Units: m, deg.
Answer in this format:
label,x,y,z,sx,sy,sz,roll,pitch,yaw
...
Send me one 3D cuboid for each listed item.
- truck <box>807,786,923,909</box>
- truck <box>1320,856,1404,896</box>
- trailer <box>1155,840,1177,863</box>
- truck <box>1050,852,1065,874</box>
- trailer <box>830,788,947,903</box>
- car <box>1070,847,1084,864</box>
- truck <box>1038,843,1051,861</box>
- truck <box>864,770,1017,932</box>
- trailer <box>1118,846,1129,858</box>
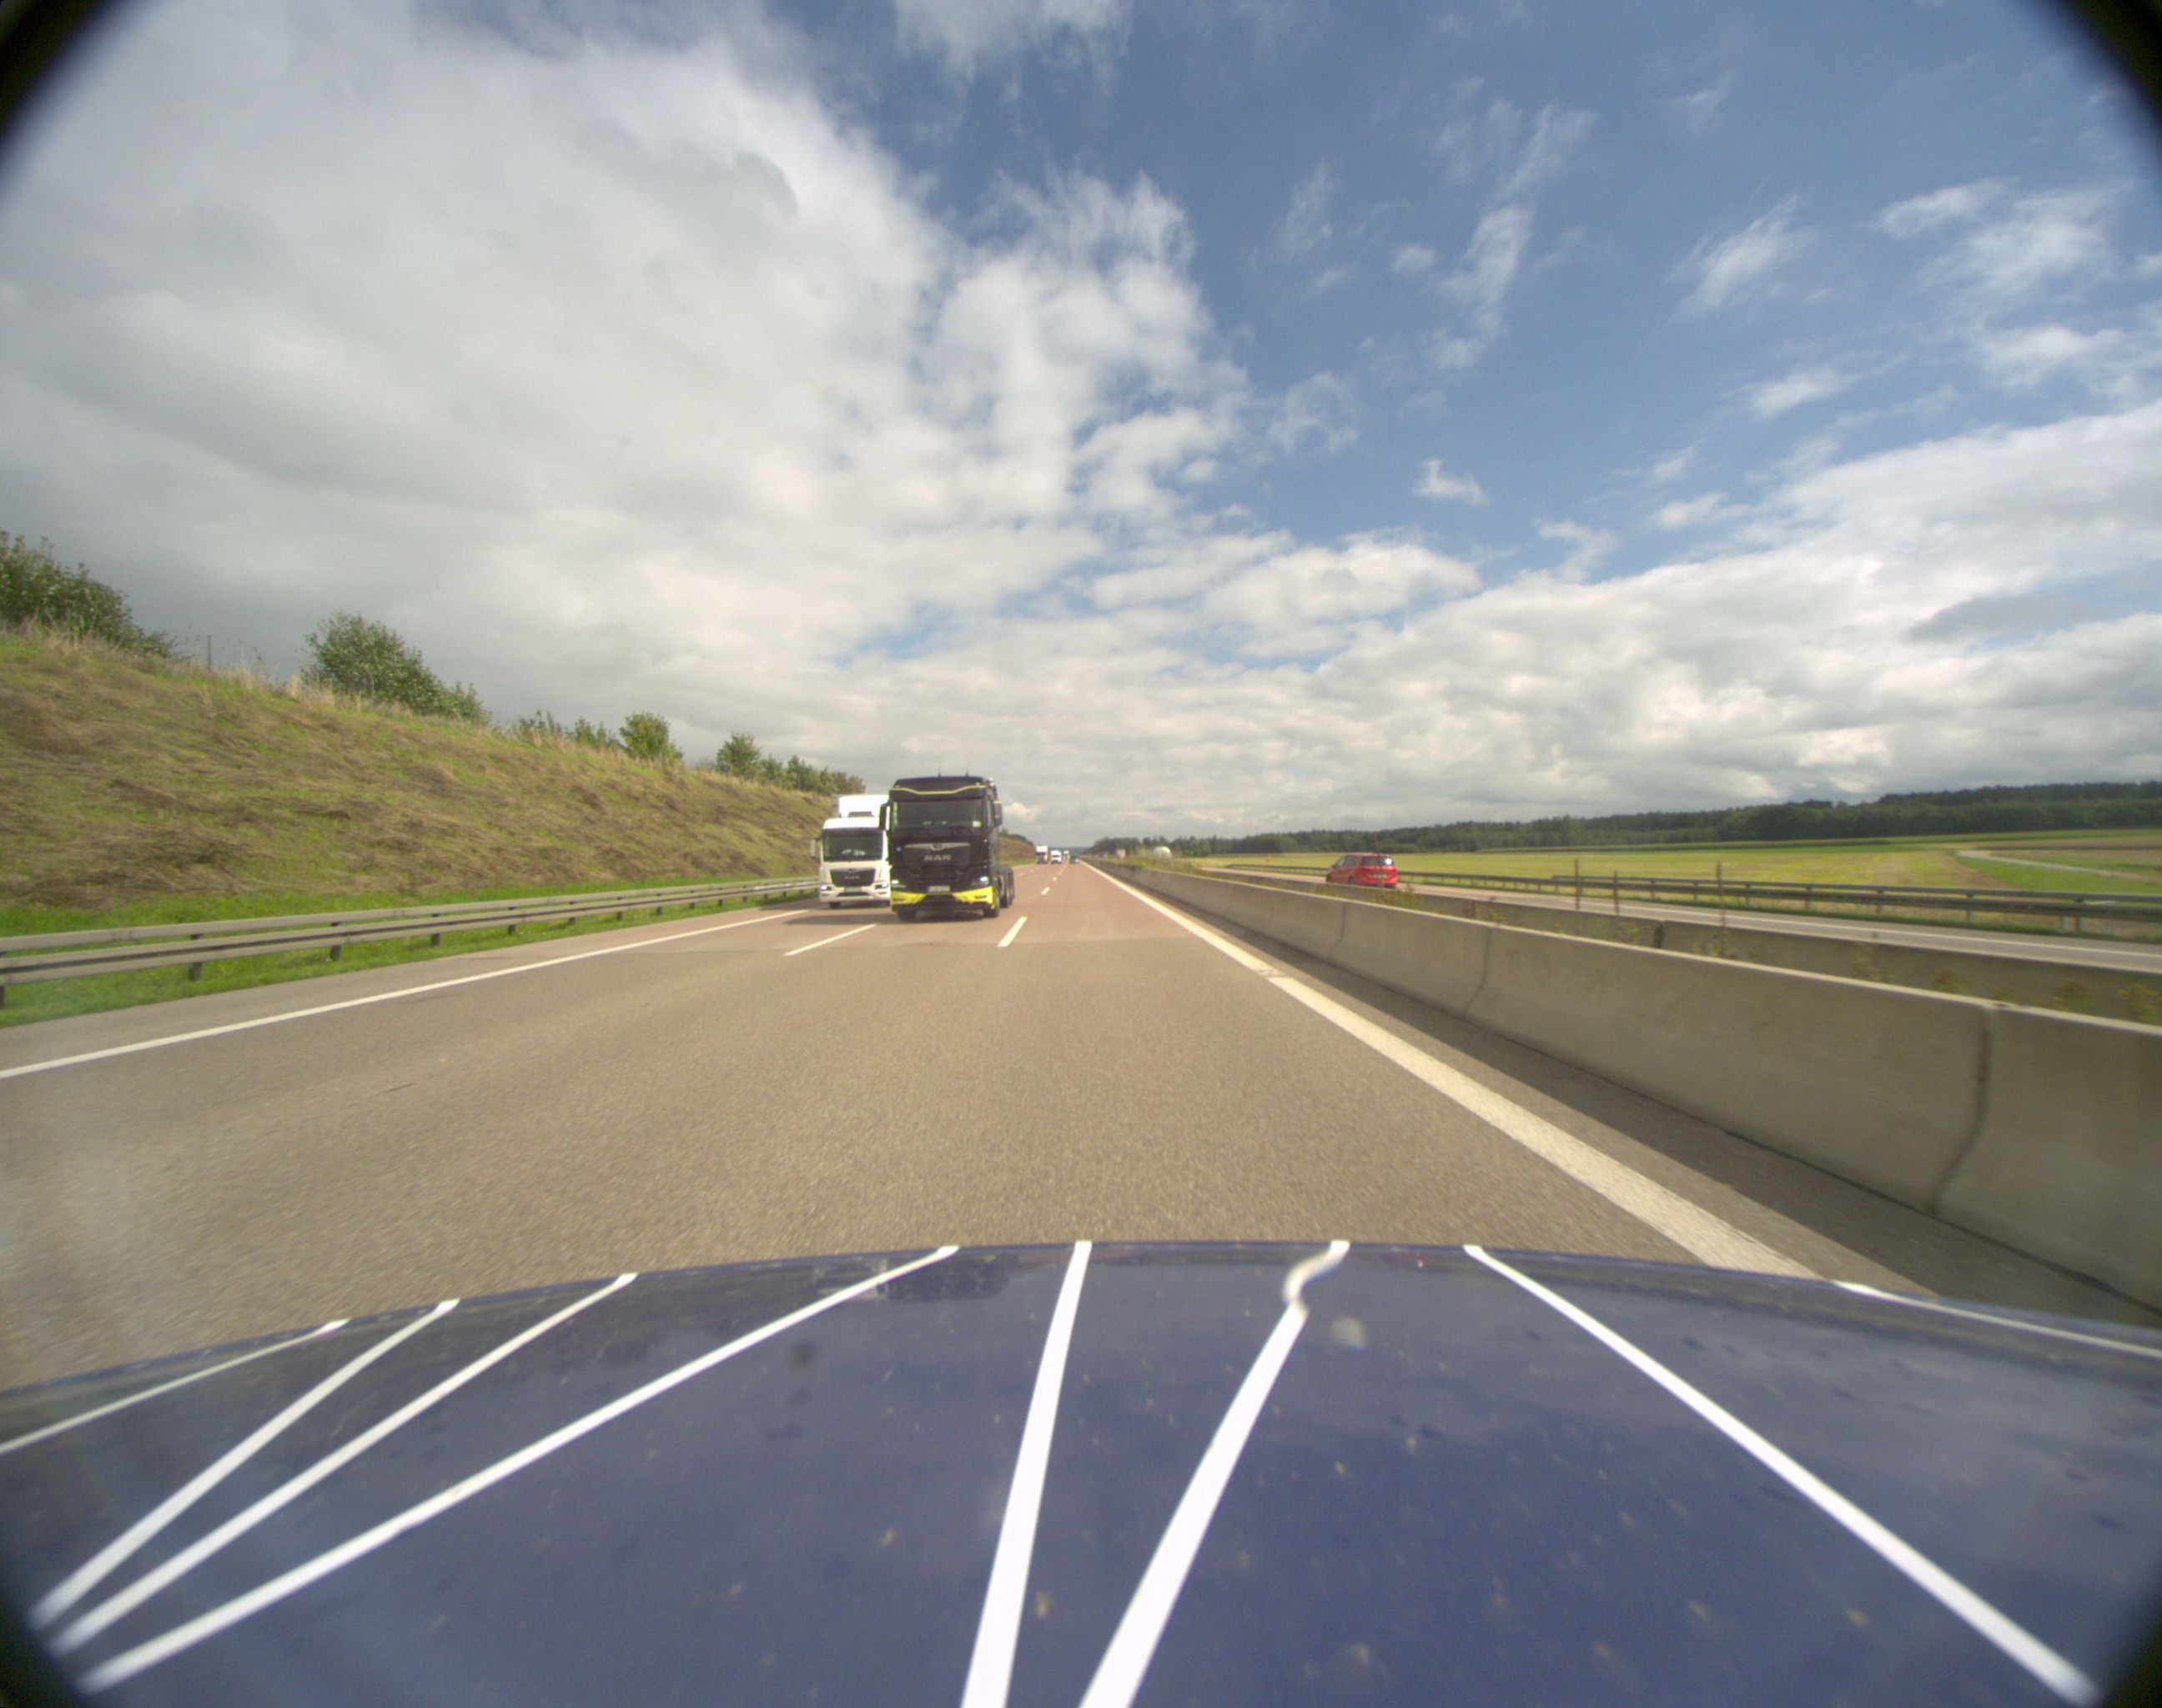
label,x,y,z,sx,sy,sz,roll,pitch,yaw
truck,-7.389,-0.227,26.660,2.756,3.869,4.544,-2,1,-2
truck,12.097,0.903,33.066,1.711,1.565,4.981,1,0,-1
trailer,15.647,-0.443,141.316,2.899,4.074,11.036,1,0,0
truck,-4.790,1.832,158.837,2.681,4.333,11.807,-3,0,-1
trailer,-7.578,-0.354,31.280,2.755,3.989,8.667,-2,1,-2
car,-0.828,0.273,156.910,2.773,3.260,6.392,-3,0,0
truck,-8.563,-0.479,180.334,2.681,4.081,6.615,-2,0,-1
truck,-3.504,-0.099,21.264,2.855,3.529,8.317,-2,1,-2
trailer,14.634,-0.665,263.384,3.216,4.074,13.258,-3,0,0
